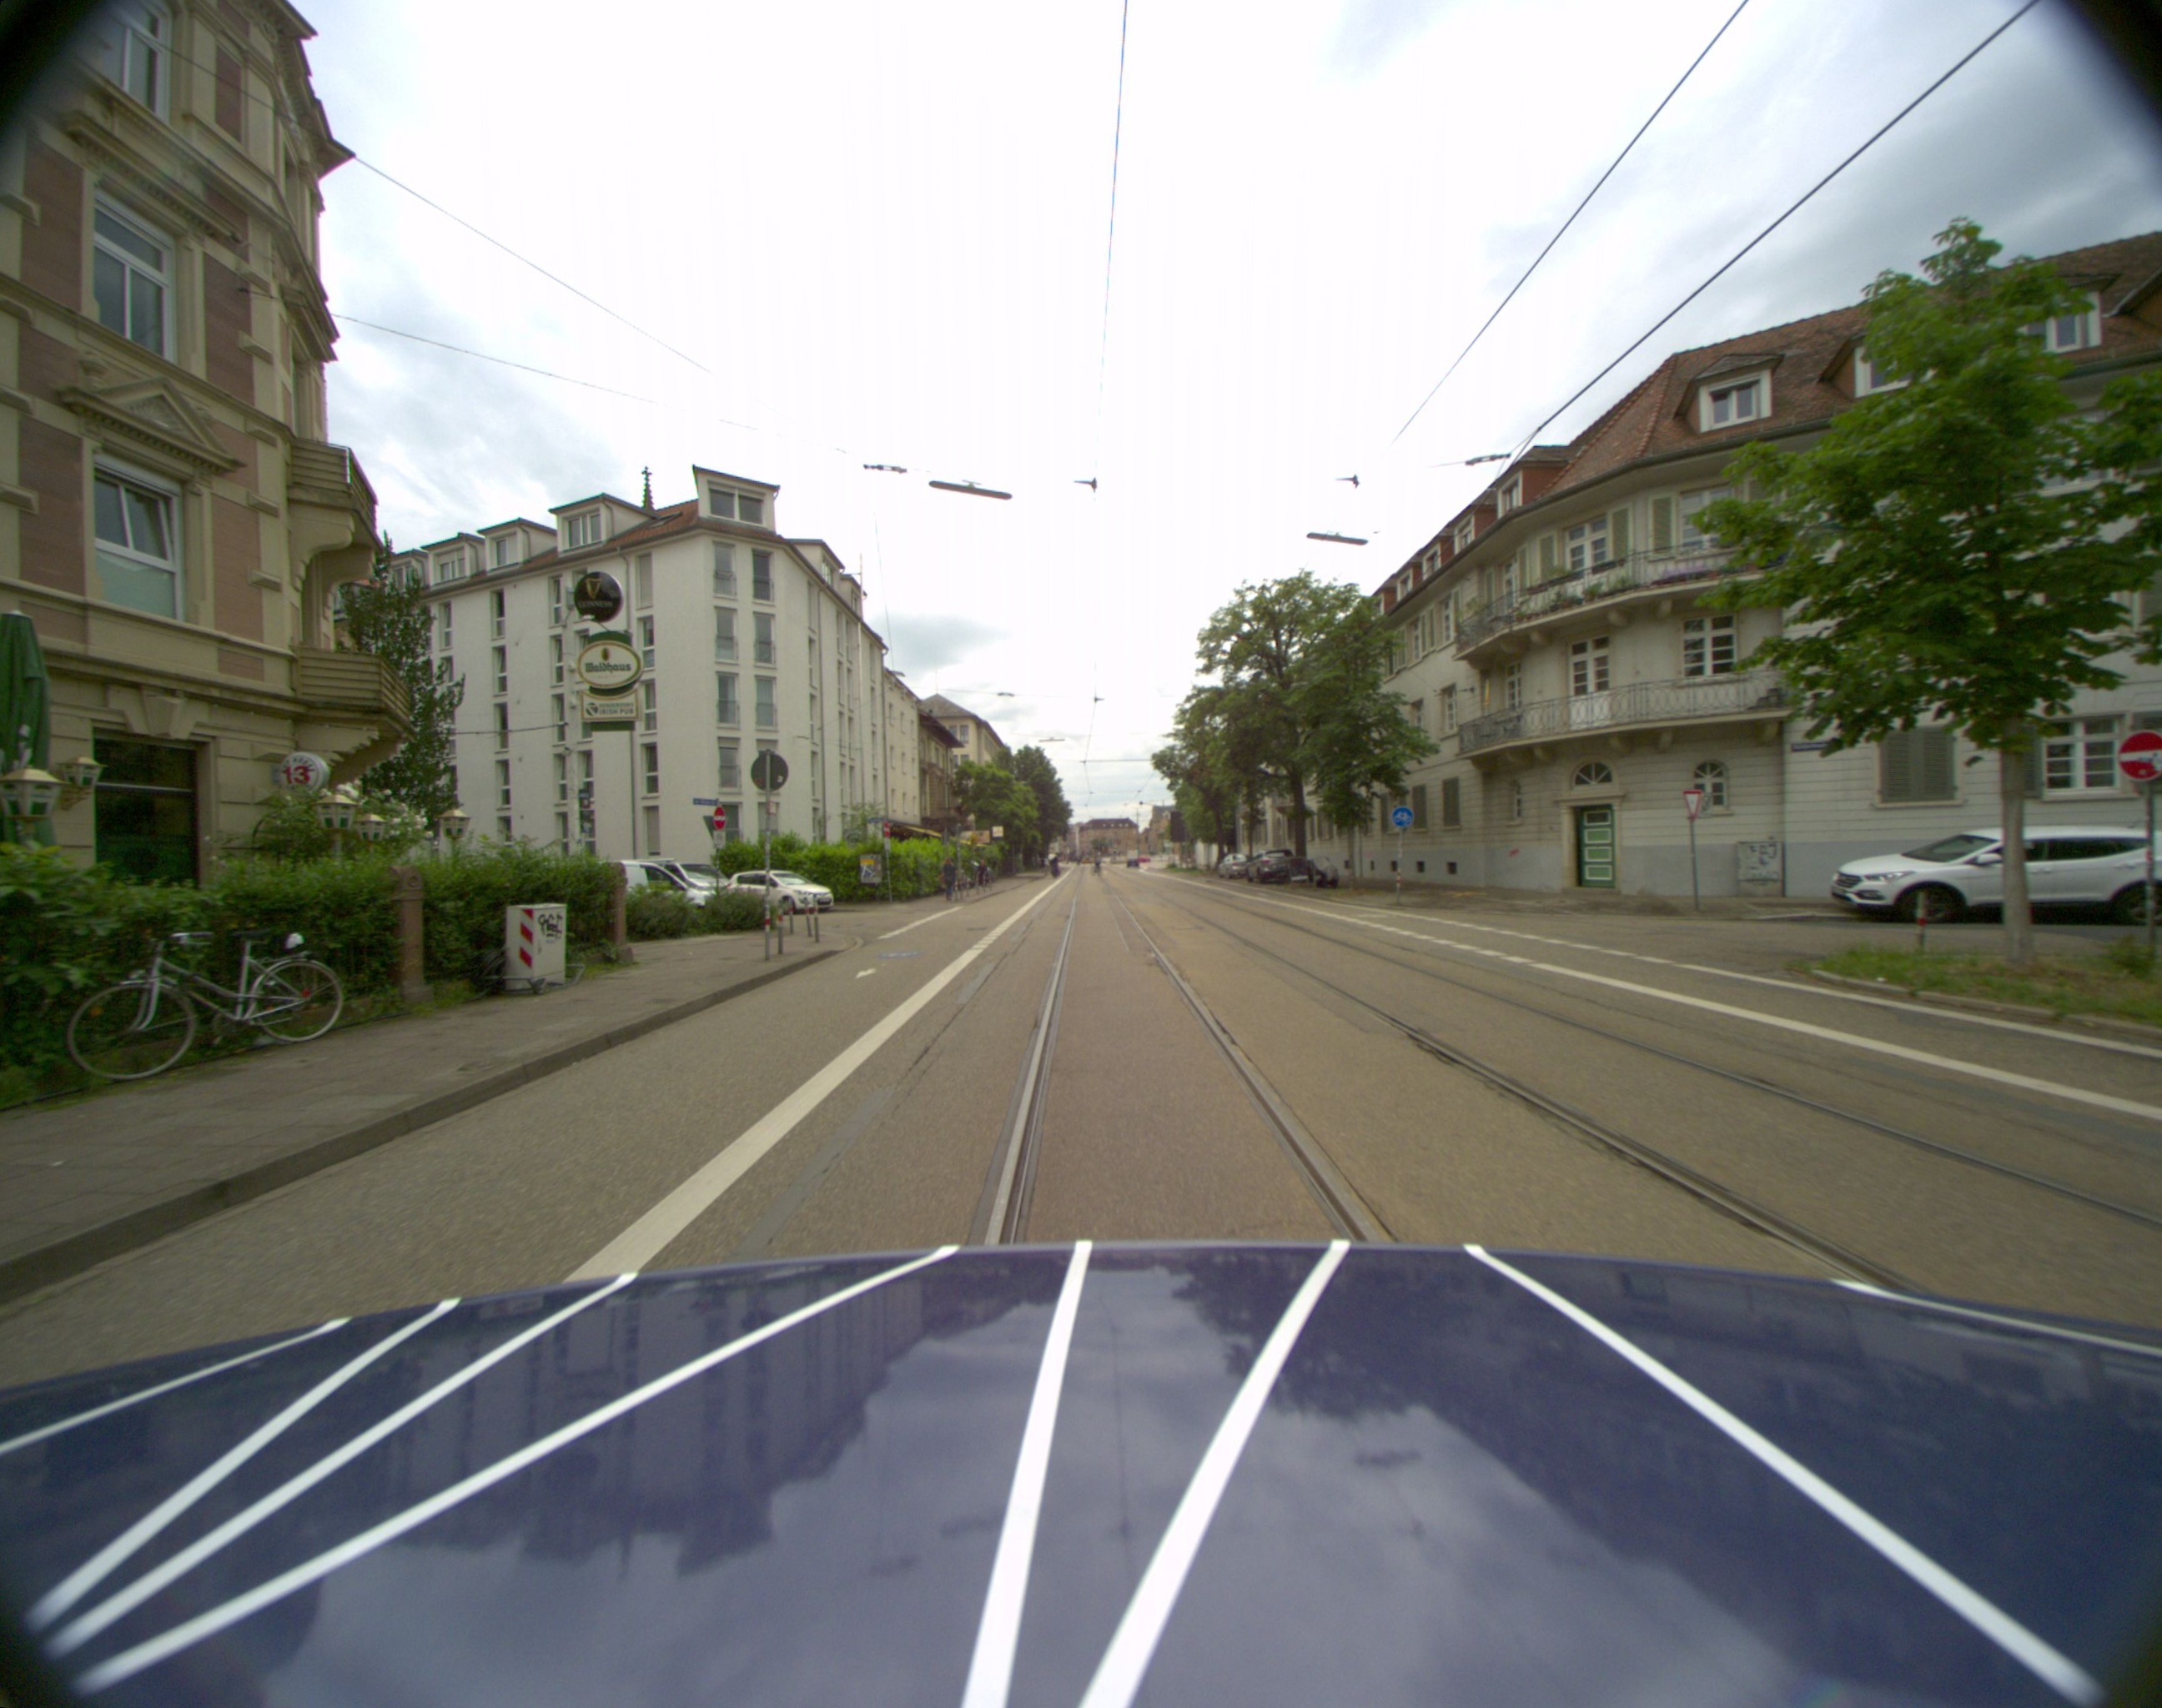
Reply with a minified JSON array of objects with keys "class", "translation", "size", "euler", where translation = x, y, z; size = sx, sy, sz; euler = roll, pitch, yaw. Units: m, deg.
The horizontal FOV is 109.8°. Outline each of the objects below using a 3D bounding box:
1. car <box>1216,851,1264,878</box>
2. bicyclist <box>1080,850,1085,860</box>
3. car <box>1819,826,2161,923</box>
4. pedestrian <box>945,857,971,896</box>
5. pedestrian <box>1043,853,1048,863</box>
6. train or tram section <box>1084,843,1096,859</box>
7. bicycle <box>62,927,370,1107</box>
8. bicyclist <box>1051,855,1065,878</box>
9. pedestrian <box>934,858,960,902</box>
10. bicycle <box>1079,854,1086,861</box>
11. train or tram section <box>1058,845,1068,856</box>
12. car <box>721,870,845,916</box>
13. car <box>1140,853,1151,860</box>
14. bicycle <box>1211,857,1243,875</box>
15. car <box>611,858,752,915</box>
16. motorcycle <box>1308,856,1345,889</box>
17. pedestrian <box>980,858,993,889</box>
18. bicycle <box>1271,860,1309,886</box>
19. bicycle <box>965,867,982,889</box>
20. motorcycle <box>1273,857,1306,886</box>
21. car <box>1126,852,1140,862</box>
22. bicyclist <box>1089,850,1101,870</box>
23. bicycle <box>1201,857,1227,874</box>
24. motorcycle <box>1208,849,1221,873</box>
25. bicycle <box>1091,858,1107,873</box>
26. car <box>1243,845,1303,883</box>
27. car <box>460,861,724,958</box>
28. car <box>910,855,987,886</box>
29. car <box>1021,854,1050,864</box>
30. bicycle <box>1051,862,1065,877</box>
[{"class":"car","translation":[9.363,0.578,45.058],"size":[1.816,1.457,4.614],"euler":[-2,0,0]},{"class":"bicyclist","translation":[0.260,0.131,132.996],"size":[0.793,1.773,1.148],"euler":[1,1,8]},{"class":"car","translation":[17.451,0.378,14.449],"size":[4.505,1.653,1.942],"euler":[-2,0,26]},{"class":"pedestrian","translation":[-5.265,0.969,32.491],"size":[0.794,1.627,0.837],"euler":[0,2,16]},{"class":"pedestrian","translation":[-5.707,0.650,122.672],"size":[0.614,1.740,0.685],"euler":[-2,1,-14]},{"class":"train or tram section","translation":[2.225,-0.733,184.979],"size":[2.631,3.659,5.984],"euler":[-2,0,-1]},{"class":"bicycle","translation":[-6.743,1.196,6.086],"size":[0.302,1.035,1.848],"euler":[-2,0,0]},{"class":"bicyclist","translation":[-1.878,0.994,61.835],"size":[0.881,1.811,1.479],"euler":[-2,-1,5]},{"class":"pedestrian","translation":[-5.135,0.981,29.191],"size":[0.875,1.646,0.908],"euler":[-2,1,-8]},{"class":"bicycle","translation":[0.251,0.604,133.019],"size":[0.793,1.179,2.012],"euler":[1,0,8]},{"class":"train or tram section","translation":[-5.149,-0.933,215.515],"size":[2.610,2.936,4.965],"euler":[-2,0,-1]},{"class":"car","translation":[-10.135,1.327,25.818],"size":[3.812,1.422,1.674],"euler":[-2,-1,23]},{"class":"car","translation":[14.017,0.501,165.585],"size":[1.758,1.490,4.004],"euler":[0,1,14]},{"class":"bicycle","translation":[9.517,0.776,49.465],"size":[1.900,1.021,0.564],"euler":[-3,1,-4]},{"class":"car","translation":[-14.566,1.182,27.696],"size":[4.734,1.927,1.980],"euler":[-2,-1,23]},{"class":"motorcycle","translation":[9.488,0.692,29.452],"size":[0.541,1.250,2.141],"euler":[-2,0,-6]},{"class":"pedestrian","translation":[-5.273,1.090,42.417],"size":[0.625,1.661,0.960],"euler":[1,0,0]},{"class":"bicycle","translation":[8.970,0.796,32.658],"size":[1.379,0.999,0.930],"euler":[-5,0,5]},{"class":"bicycle","translation":[-5.729,1.247,40.515],"size":[0.634,1.121,1.812],"euler":[0,0,0]},{"class":"motorcycle","translation":[9.228,0.765,33.593],"size":[1.288,1.215,0.548],"euler":[-3,1,7]},{"class":"car","translation":[7.030,0.391,103.059],"size":[1.733,1.400,3.655],"euler":[-2,0,0]},{"class":"bicyclist","translation":[1.201,0.525,65.028],"size":[0.774,1.681,0.870],"euler":[-1,1,23]},{"class":"bicycle","translation":[9.594,0.796,54.792],"size":[1.744,1.122,0.518],"euler":[-4,0,19]},{"class":"motorcycle","translation":[9.220,0.455,52.571],"size":[0.834,1.633,2.481],"euler":[-2,0,9]},{"class":"bicycle","translation":[1.550,1.002,65.220],"size":[0.774,1.205,1.872],"euler":[-1,0,23]},{"class":"car","translation":[9.262,0.463,36.967],"size":[1.842,1.651,4.293],"euler":[-4,0,2]},{"class":"car","translation":[-11.234,1.174,18.008],"size":[2.054,1.867,5.035],"euler":[-1,0,18]},{"class":"car","translation":[-8.060,0.996,46.511],"size":[4.290,1.798,1.824],"euler":[-1,0,2]},{"class":"car","translation":[-7.344,0.854,123.571],"size":[4.330,1.542,1.747],"euler":[-2,0,-22]},{"class":"bicycle","translation":[-1.872,1.266,61.919],"size":[0.853,1.234,2.311],"euler":[-2,-1,5]}]
